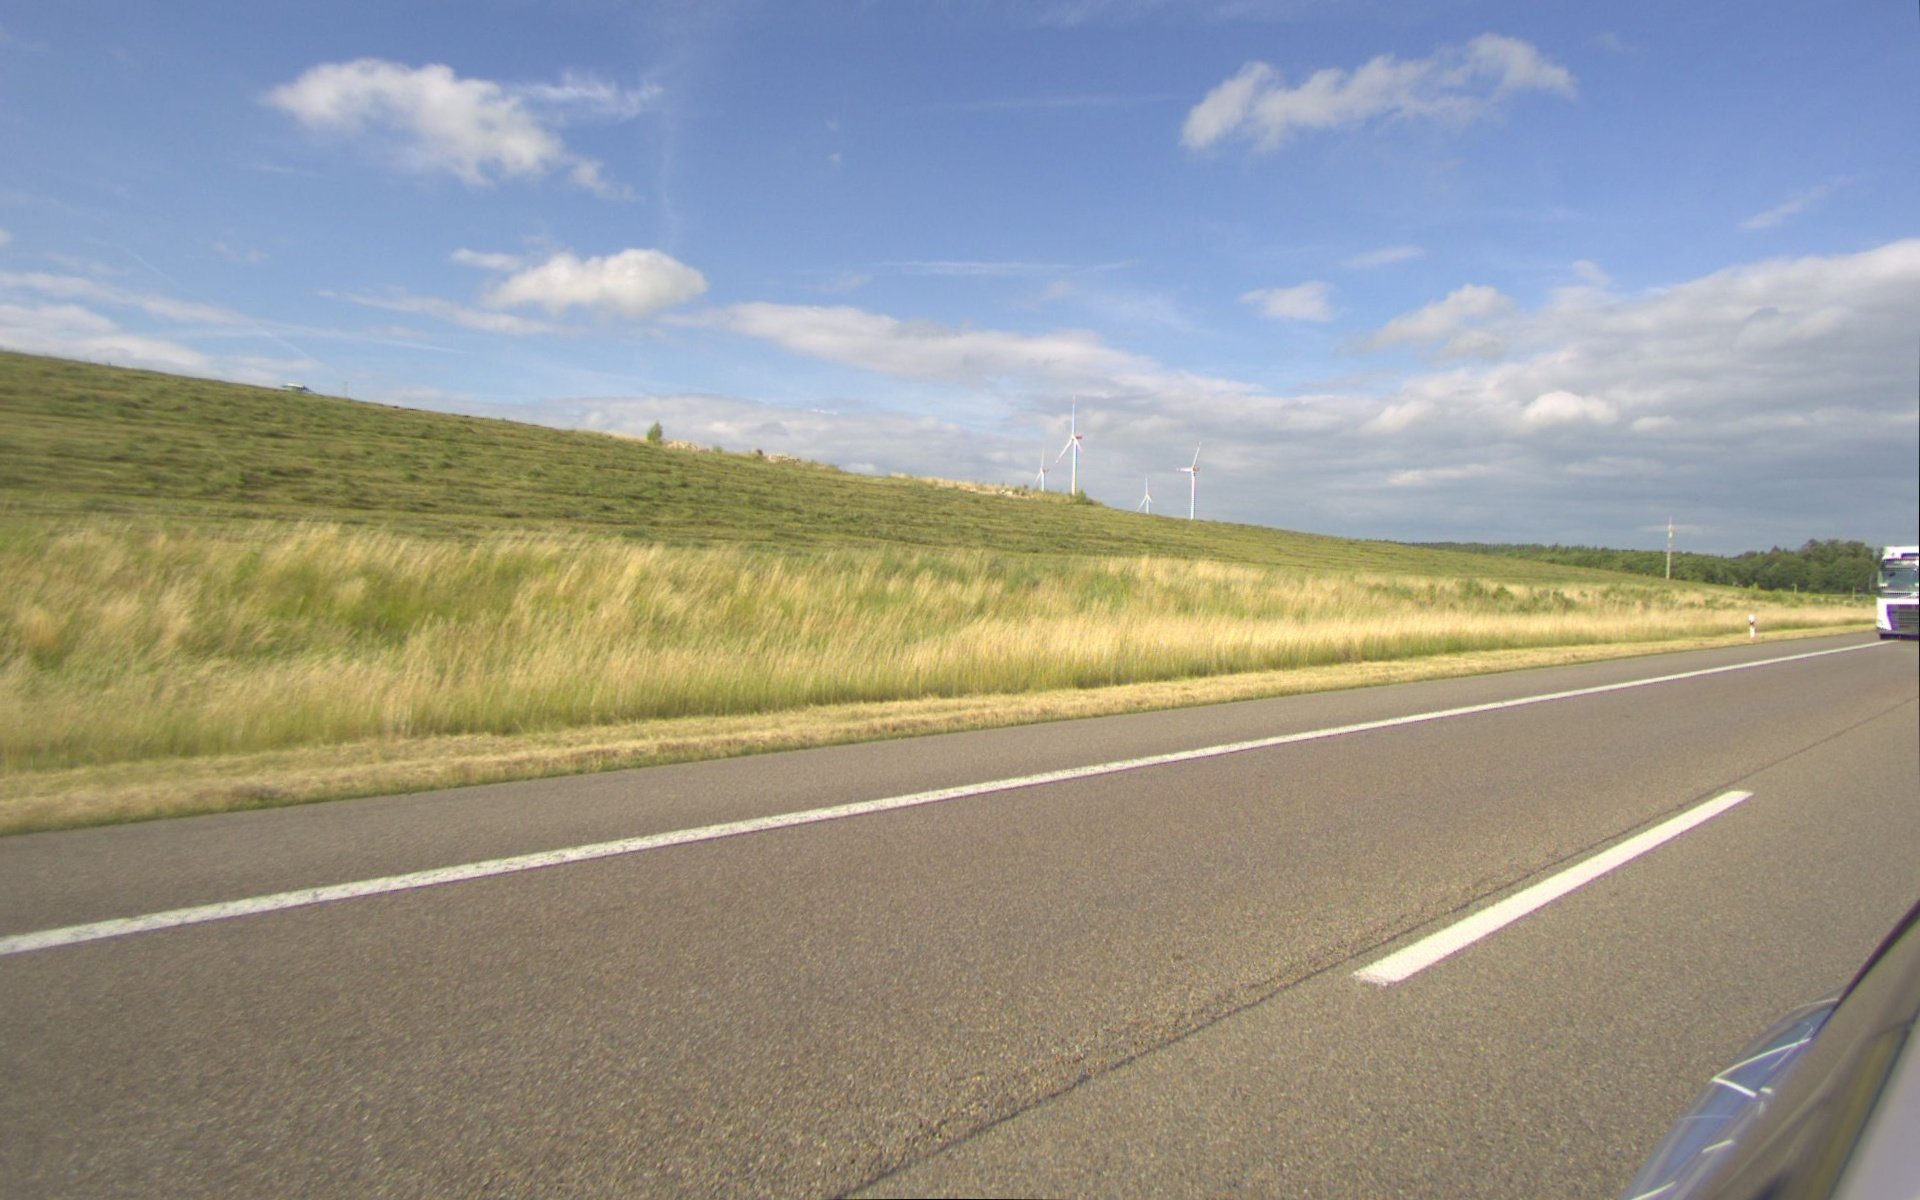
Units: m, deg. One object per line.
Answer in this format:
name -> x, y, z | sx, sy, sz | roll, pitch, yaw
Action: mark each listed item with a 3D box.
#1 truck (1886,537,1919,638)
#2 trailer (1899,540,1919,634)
truck -> 41.482, -0.530, 42.928 | 6.013, 4.092, 2.605 | 0, 0, -41
trailer -> 47.189, -0.583, 48.044 | 13.462, 4.092, 2.620 | 0, 0, -42
